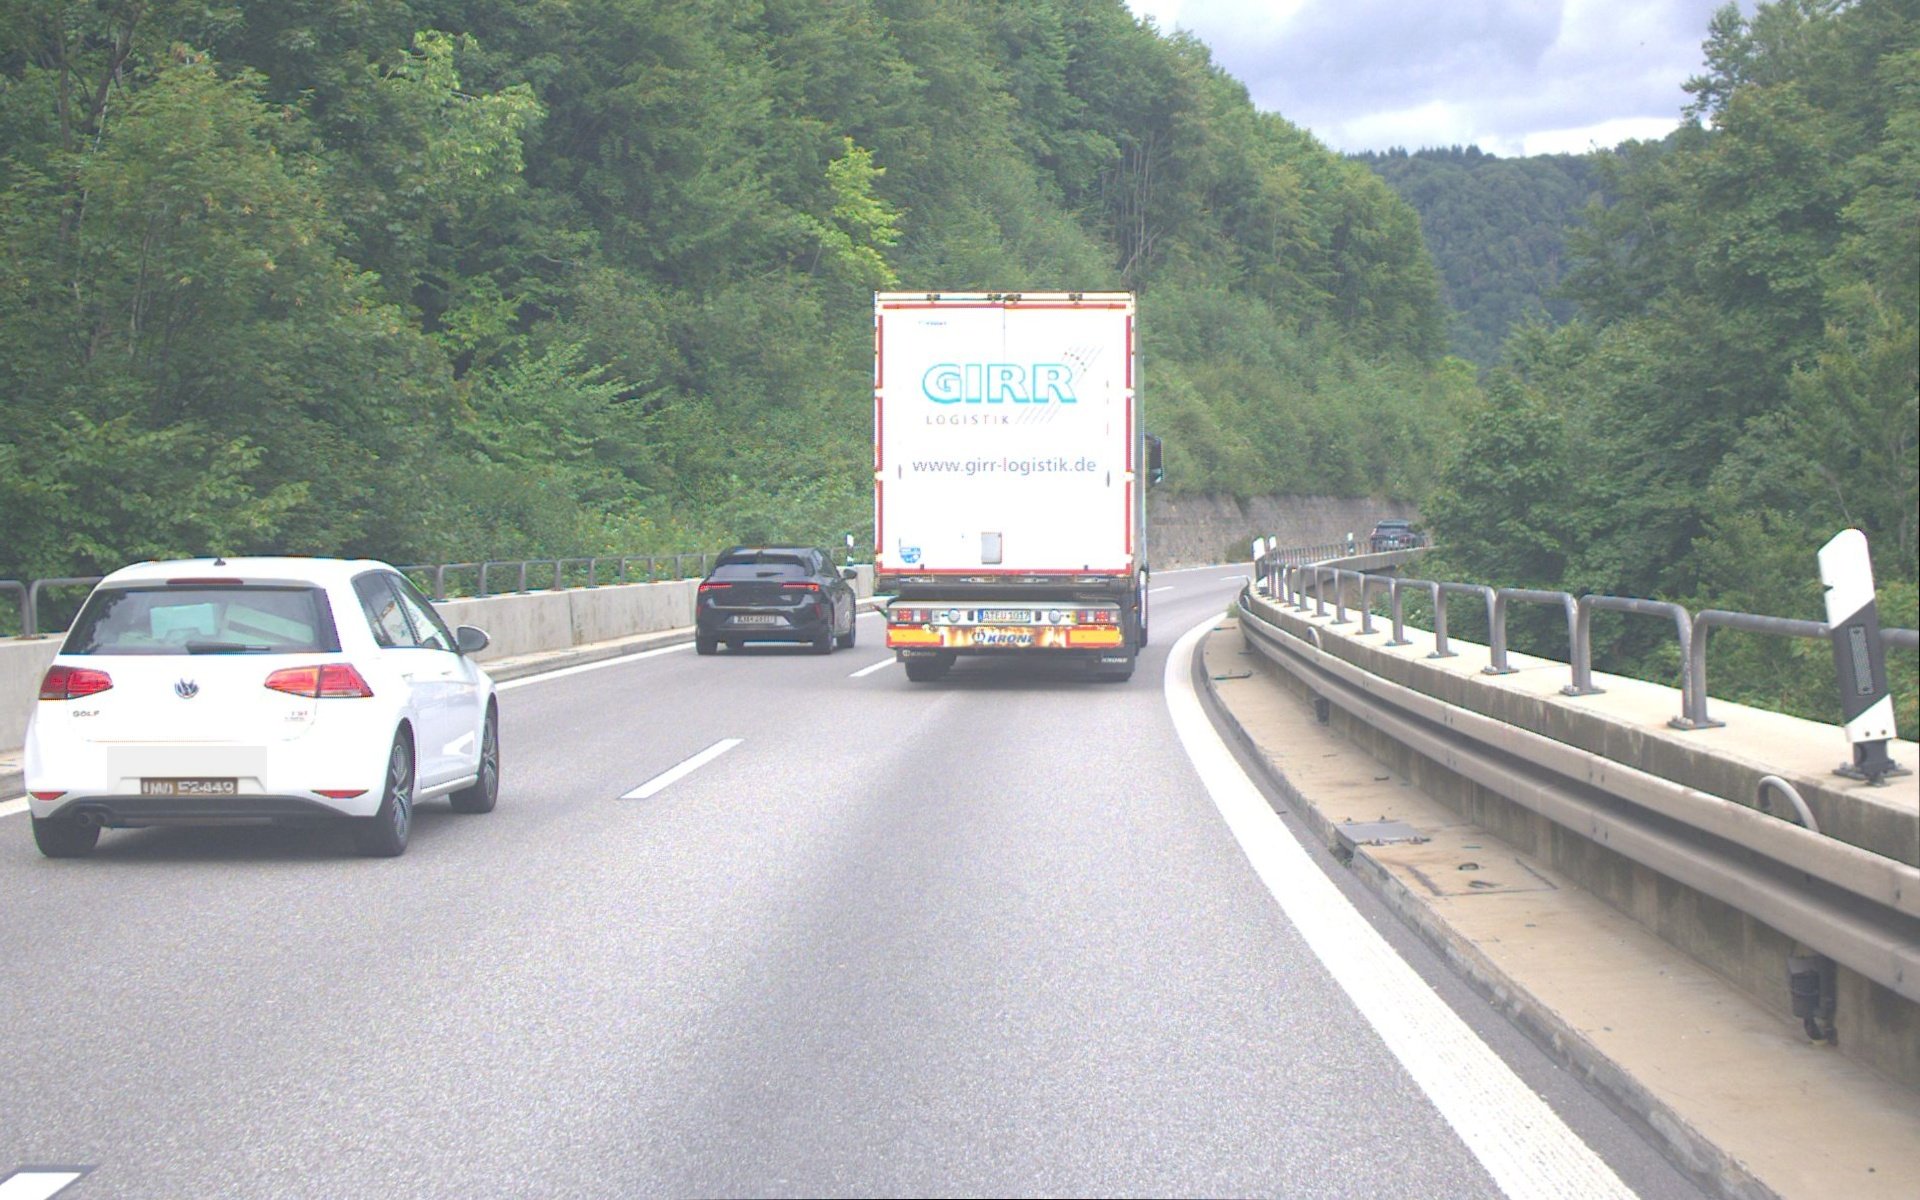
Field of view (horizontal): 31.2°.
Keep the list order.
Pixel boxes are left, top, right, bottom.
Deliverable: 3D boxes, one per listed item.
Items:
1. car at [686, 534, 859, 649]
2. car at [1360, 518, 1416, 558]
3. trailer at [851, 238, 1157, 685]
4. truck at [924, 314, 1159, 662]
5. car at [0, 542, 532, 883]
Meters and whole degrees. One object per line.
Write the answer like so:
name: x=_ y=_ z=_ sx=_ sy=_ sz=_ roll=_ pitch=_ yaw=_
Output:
car: x=-2.461 y=-0.125 z=46.230 sx=1.773 sy=1.456 sz=4.581 roll=0 pitch=0 yaw=4
car: x=18.010 y=-2.595 z=144.612 sx=1.994 sy=1.560 sz=3.998 roll=-1 pitch=0 yaw=12
trailer: x=0.770 y=-1.371 z=39.609 sx=2.813 sy=4.288 sz=12.243 roll=-1 pitch=0 yaw=4
truck: x=1.202 y=-1.405 z=46.100 sx=2.813 sy=4.288 sz=6.258 roll=-1 pitch=0 yaw=4
car: x=-3.505 y=0.471 z=17.819 sx=1.845 sy=1.476 sz=4.628 roll=-1 pitch=1 yaw=2
